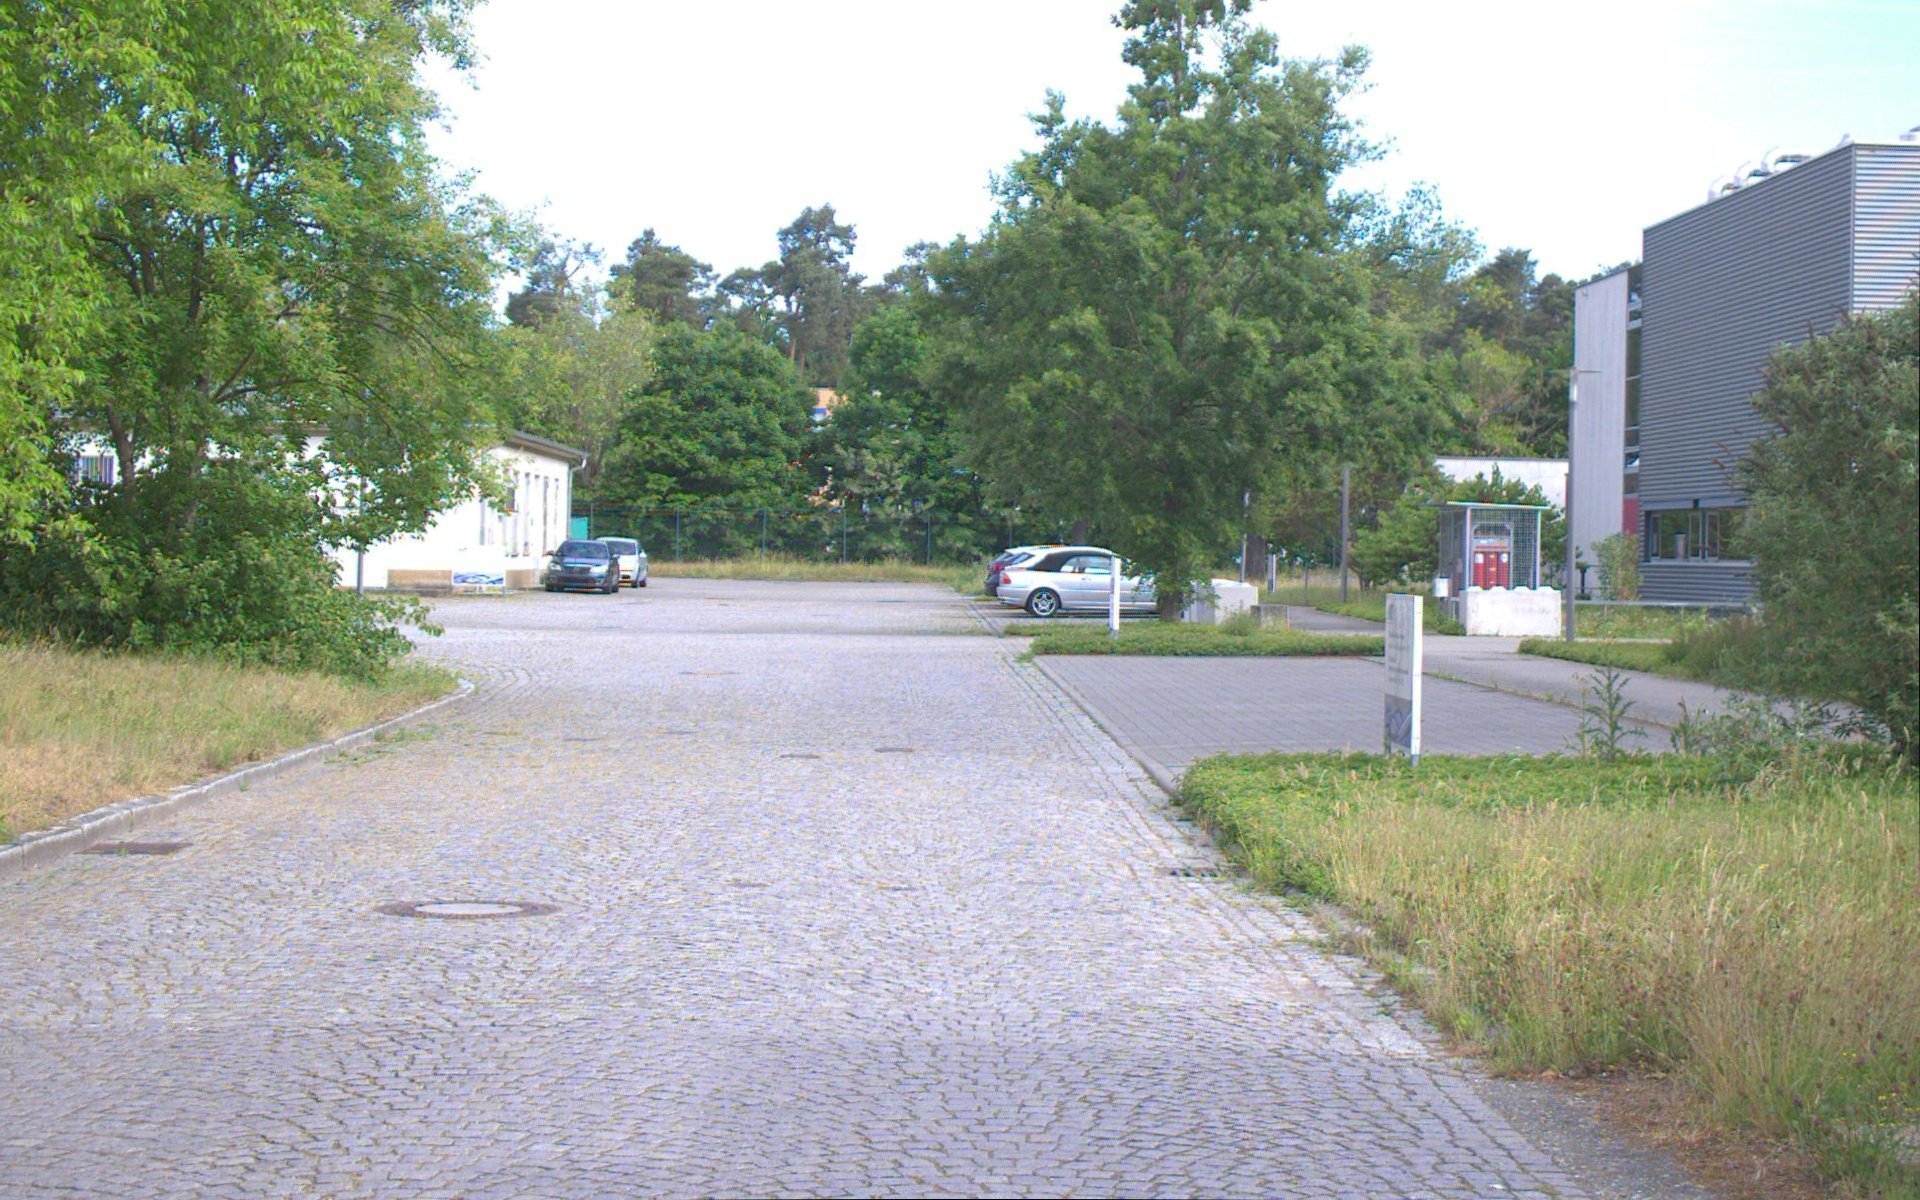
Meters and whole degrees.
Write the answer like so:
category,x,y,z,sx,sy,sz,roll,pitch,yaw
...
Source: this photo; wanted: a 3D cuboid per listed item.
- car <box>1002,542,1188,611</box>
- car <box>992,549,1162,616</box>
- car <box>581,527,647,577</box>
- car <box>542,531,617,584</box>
category,x,y,z,sx,sy,sz,roll,pitch,yaw
car,2.937,-0.522,75.225,3.984,1.443,1.653,-1,1,0
car,2.447,-0.376,72.527,3.522,1.357,1.622,-1,1,0
car,-10.473,-1.458,104.279,1.647,1.453,3.998,1,1,-1
car,-10.378,-1.174,93.939,1.647,1.364,3.998,1,1,-1
